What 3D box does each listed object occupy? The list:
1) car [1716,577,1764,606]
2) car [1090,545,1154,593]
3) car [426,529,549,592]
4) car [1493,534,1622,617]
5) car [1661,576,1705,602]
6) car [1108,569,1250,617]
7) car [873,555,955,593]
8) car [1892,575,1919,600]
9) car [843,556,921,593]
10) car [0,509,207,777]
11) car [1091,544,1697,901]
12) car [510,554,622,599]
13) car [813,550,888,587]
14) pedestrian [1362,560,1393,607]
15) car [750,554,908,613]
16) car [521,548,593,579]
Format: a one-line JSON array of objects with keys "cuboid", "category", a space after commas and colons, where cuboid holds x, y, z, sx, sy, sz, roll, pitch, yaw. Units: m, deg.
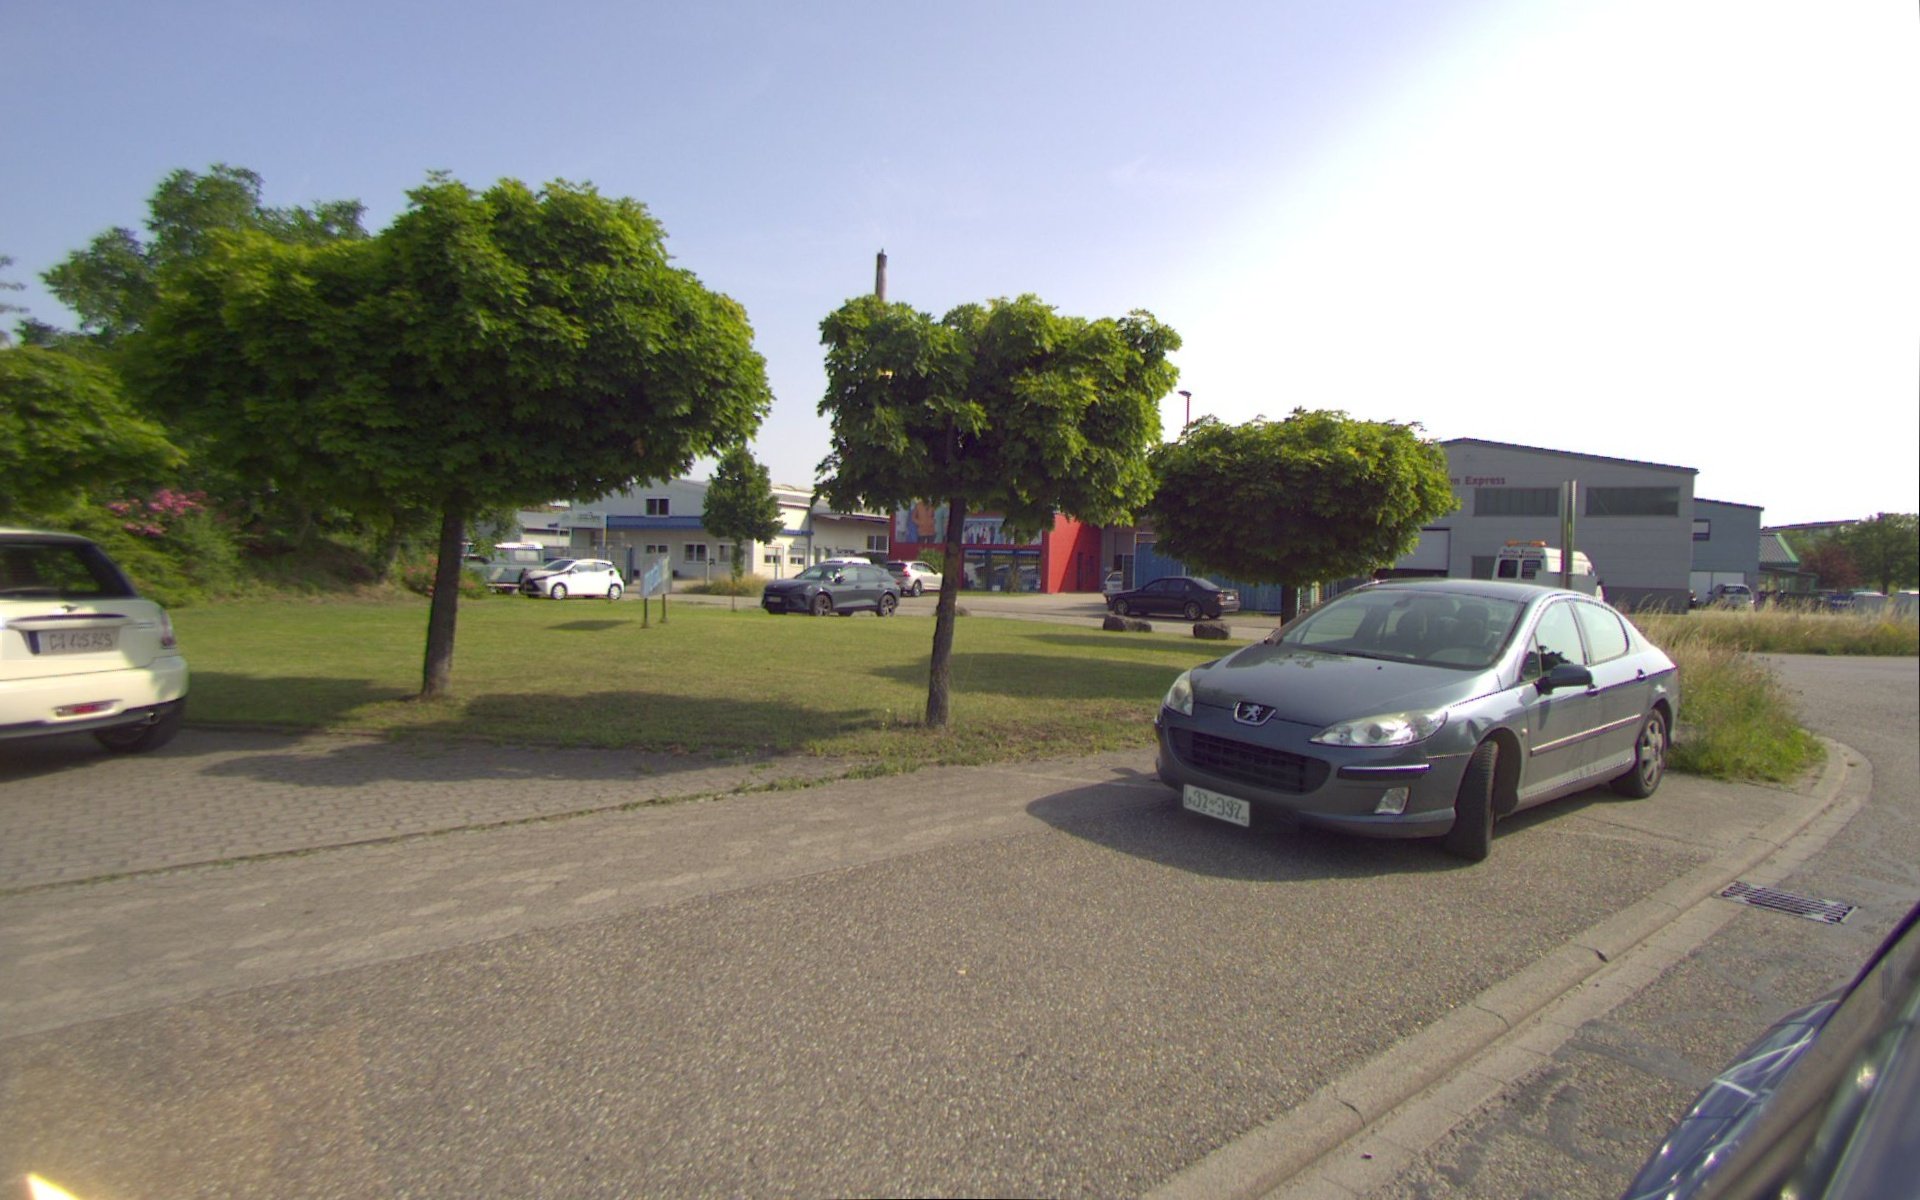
[{"cuboid": [45.633, -0.542, 59.277, 1.625, 1.587, 3.768, 2, 2, 29], "category": "car"}, {"cuboid": [7.399, -1.410, 45.885, 1.978, 2.038, 3.970, 2, 2, 23], "category": "car"}, {"cuboid": [-17.207, -1.425, 36.994, 1.673, 1.981, 3.665, 4, 0, 31], "category": "car"}, {"cuboid": [21.384, -0.887, 36.118, 5.774, 2.739, 1.979, -1, 2, -39], "category": "car"}, {"cuboid": [43.078, -0.688, 60.351, 1.667, 1.419, 3.675, 2, 2, 29], "category": "car"}, {"cuboid": [7.486, -0.279, 34.775, 4.450, 1.426, 1.787, 3, 4, 38], "category": "car"}, {"cuboid": [-2.112, -1.233, 47.890, 1.772, 1.652, 4.420, 3, 3, 30], "category": "car"}, {"cuboid": [63.750, -0.819, 67.078, 1.703, 1.591, 4.097, 2, 2, 26], "category": "car"}, {"cuboid": [-3.773, -1.267, 49.506, 1.772, 1.652, 4.163, 3, 3, 30], "category": "car"}, {"cuboid": [-6.718, 0.149, 5.958, 3.640, 1.397, 1.683, 2, 2, 11], "category": "car"}, {"cuboid": [2.996, 0.484, 6.492, 4.346, 1.536, 1.798, 0, 3, -41], "category": "car"}, {"cuboid": [-13.803, -0.879, 35.582, 1.551, 1.468, 3.480, 2, 4, 31], "category": "car"}, {"cuboid": [-5.635, -1.632, 52.509, 1.701, 1.819, 4.163, 3, 3, 30], "category": "car"}, {"cuboid": [15.110, -0.597, 36.610, 0.734, 1.660, 0.706, 0, 2, -29], "category": "pedestrian"}, {"cuboid": [-3.477, -0.481, 27.507, 1.777, 1.426, 4.290, 3, 3, 37], "category": "car"}, {"cuboid": [-21.183, -1.923, 53.169, 3.563, 1.540, 1.814, 3, 3, 33], "category": "car"}]
